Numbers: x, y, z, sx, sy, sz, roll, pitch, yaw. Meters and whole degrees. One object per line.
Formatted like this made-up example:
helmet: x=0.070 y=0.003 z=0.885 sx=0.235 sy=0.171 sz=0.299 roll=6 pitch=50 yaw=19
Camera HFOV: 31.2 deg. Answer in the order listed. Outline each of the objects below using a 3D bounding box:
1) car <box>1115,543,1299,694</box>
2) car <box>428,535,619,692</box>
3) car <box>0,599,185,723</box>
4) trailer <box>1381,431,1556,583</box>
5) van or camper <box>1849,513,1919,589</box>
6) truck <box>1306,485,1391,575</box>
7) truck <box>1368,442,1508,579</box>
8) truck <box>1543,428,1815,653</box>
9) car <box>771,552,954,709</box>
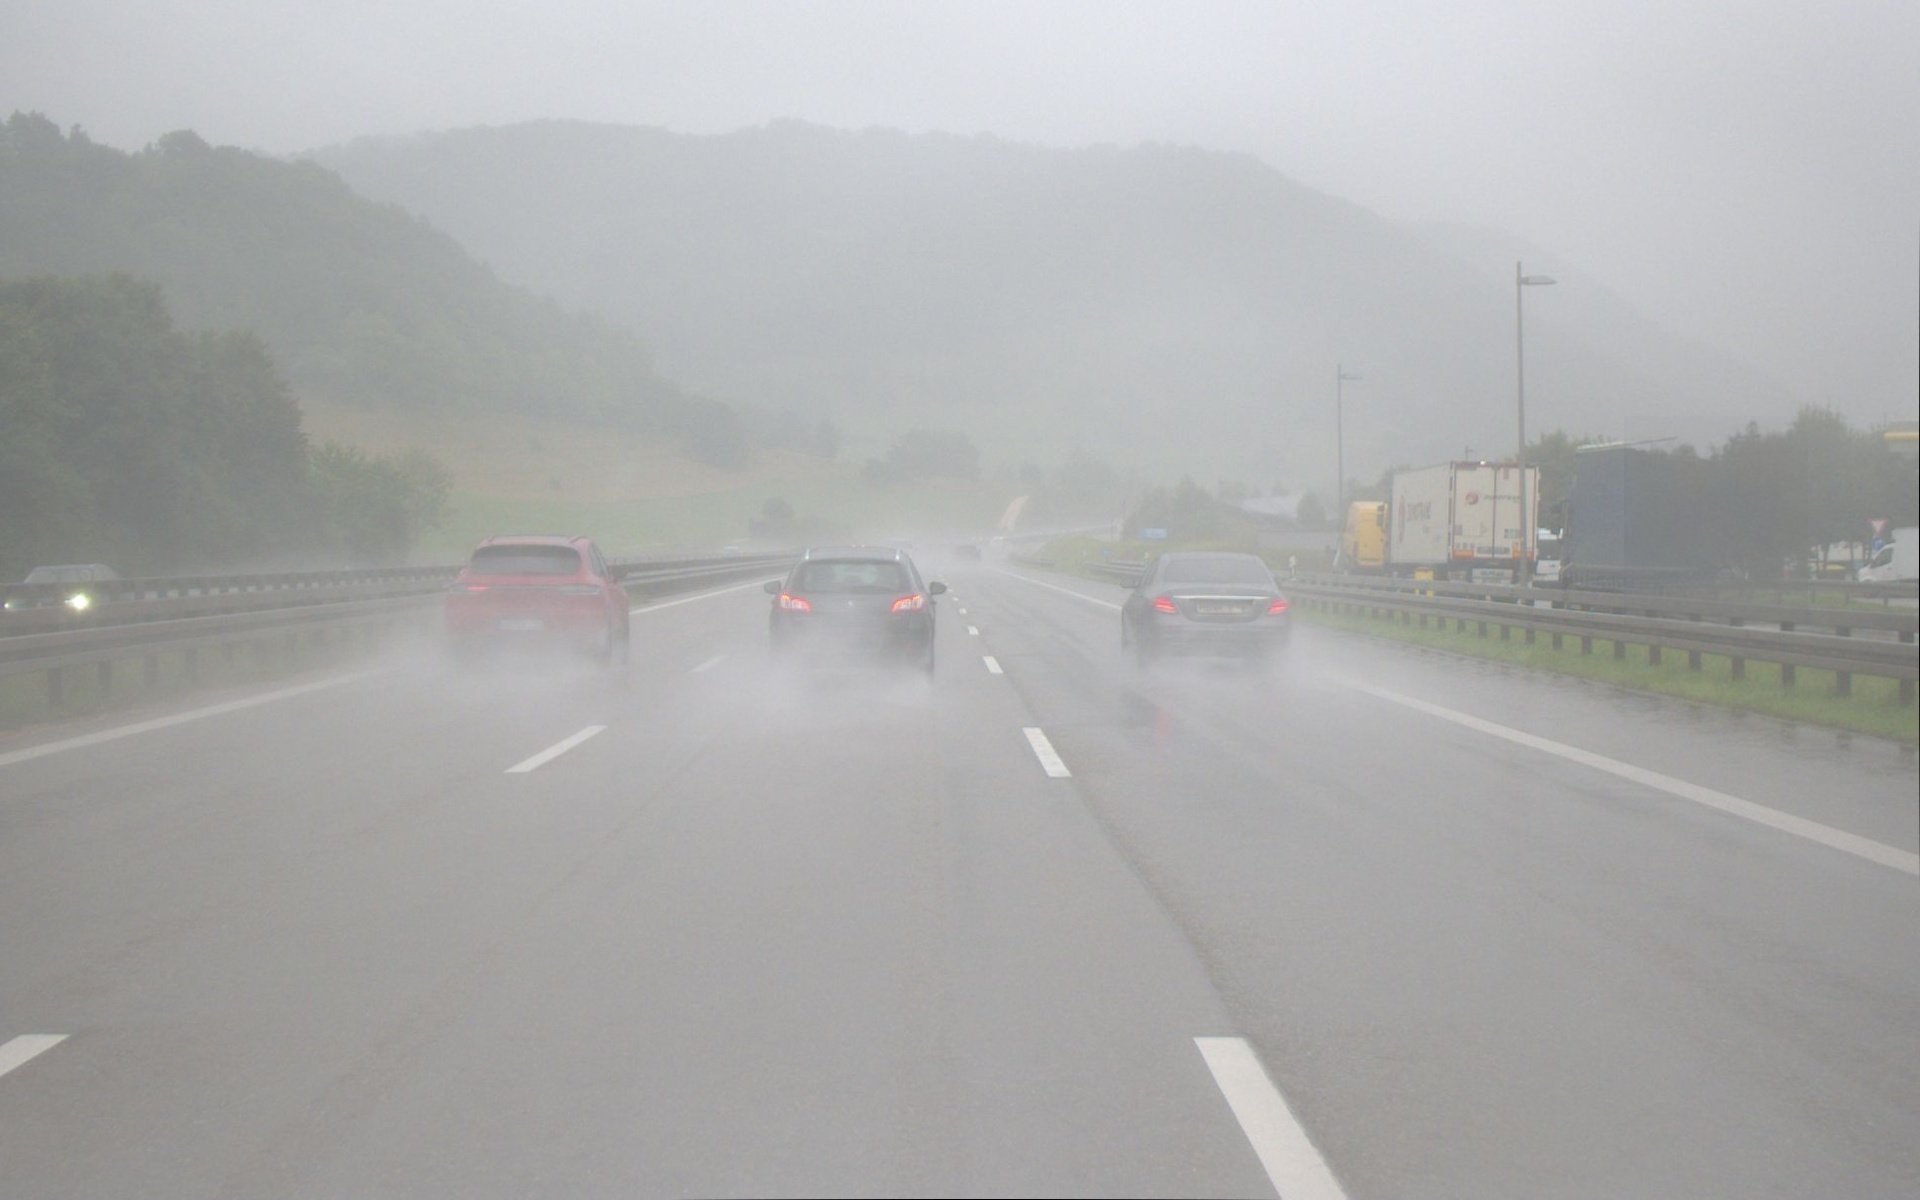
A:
car: x=3.015 y=0.185 z=42.661 sx=1.971 sy=1.754 sz=4.000 roll=0 pitch=1 yaw=0
car: x=-5.238 y=0.122 z=41.686 sx=1.884 sy=1.809 sz=4.000 roll=0 pitch=1 yaw=-1
car: x=-17.384 y=1.160 z=68.438 sx=2.627 sy=2.220 sz=5.998 roll=1 pitch=1 yaw=-1
trailer: x=15.211 y=-2.716 z=103.865 sx=3.516 sy=4.247 sz=11.920 roll=1 pitch=1 yaw=1
van or camper: x=39.018 y=-1.964 z=138.890 sx=1.994 sy=3.048 sz=6.172 roll=1 pitch=1 yaw=-35
truck: x=14.258 y=-2.538 z=126.707 sx=2.291 sy=3.136 sz=8.863 roll=1 pitch=1 yaw=1
truck: x=15.310 y=-2.823 z=110.722 sx=3.527 sy=4.205 sz=7.816 roll=1 pitch=1 yaw=1
truck: x=15.238 y=-1.298 z=73.901 sx=3.401 sy=4.387 sz=11.049 roll=2 pitch=1 yaw=0
car: x=-1.011 y=0.294 z=37.564 sx=1.859 sy=1.584 sz=4.000 roll=1 pitch=1 yaw=0
